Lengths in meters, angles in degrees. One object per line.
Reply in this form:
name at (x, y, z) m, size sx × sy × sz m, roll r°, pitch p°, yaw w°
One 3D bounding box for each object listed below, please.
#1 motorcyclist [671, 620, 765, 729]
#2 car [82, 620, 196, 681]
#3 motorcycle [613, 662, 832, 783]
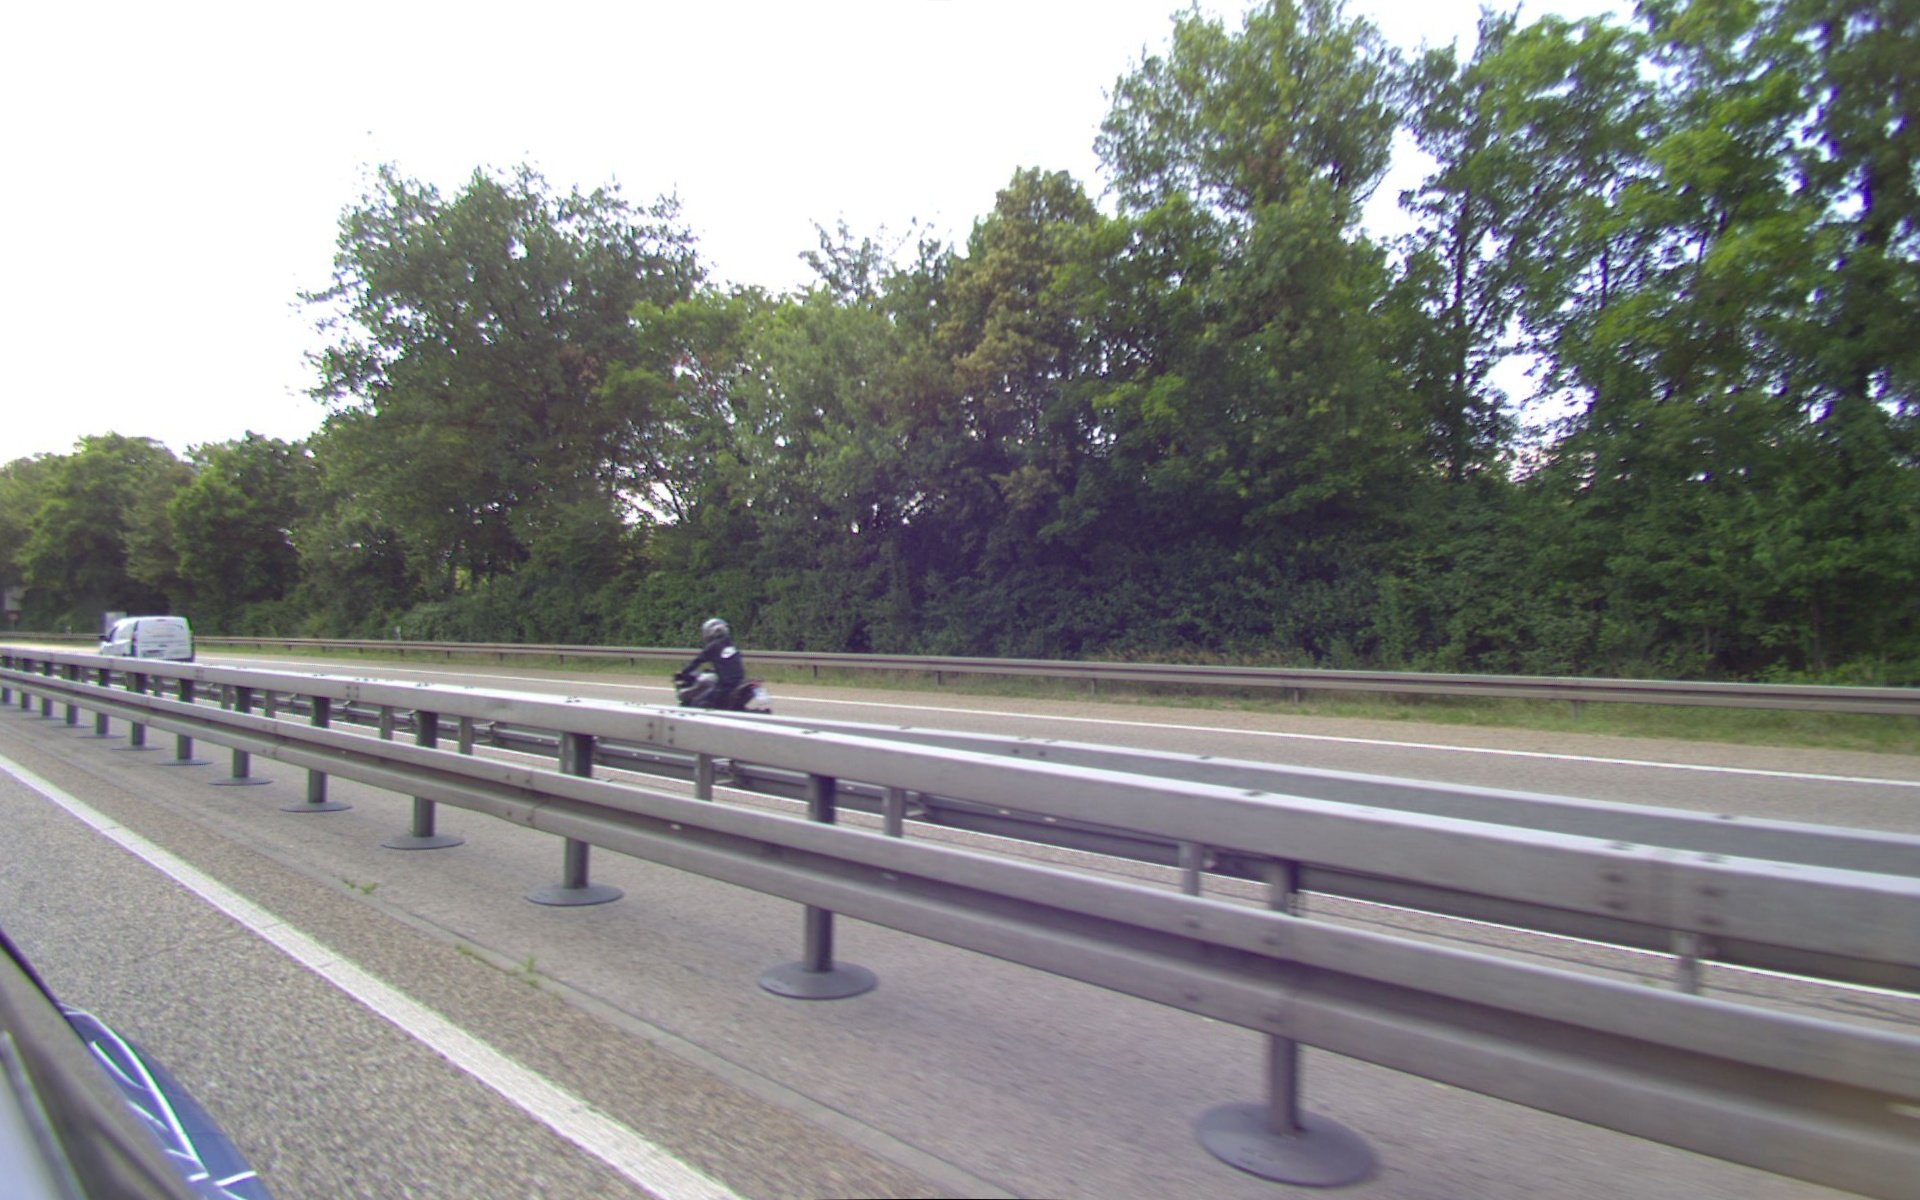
motorcyclist at (-2.874, 0.866, 12.049) m, size 0.719 × 1.235 × 0.817 m, roll -1°, pitch -2°, yaw 40°
car at (-26.887, 1.602, 33.066) m, size 5.473 × 1.832 × 1.826 m, roll -1°, pitch -2°, yaw 40°
motorcycle at (-2.938, 1.398, 12.252) m, size 2.995 × 1.210 × 0.989 m, roll -1°, pitch -2°, yaw 40°
